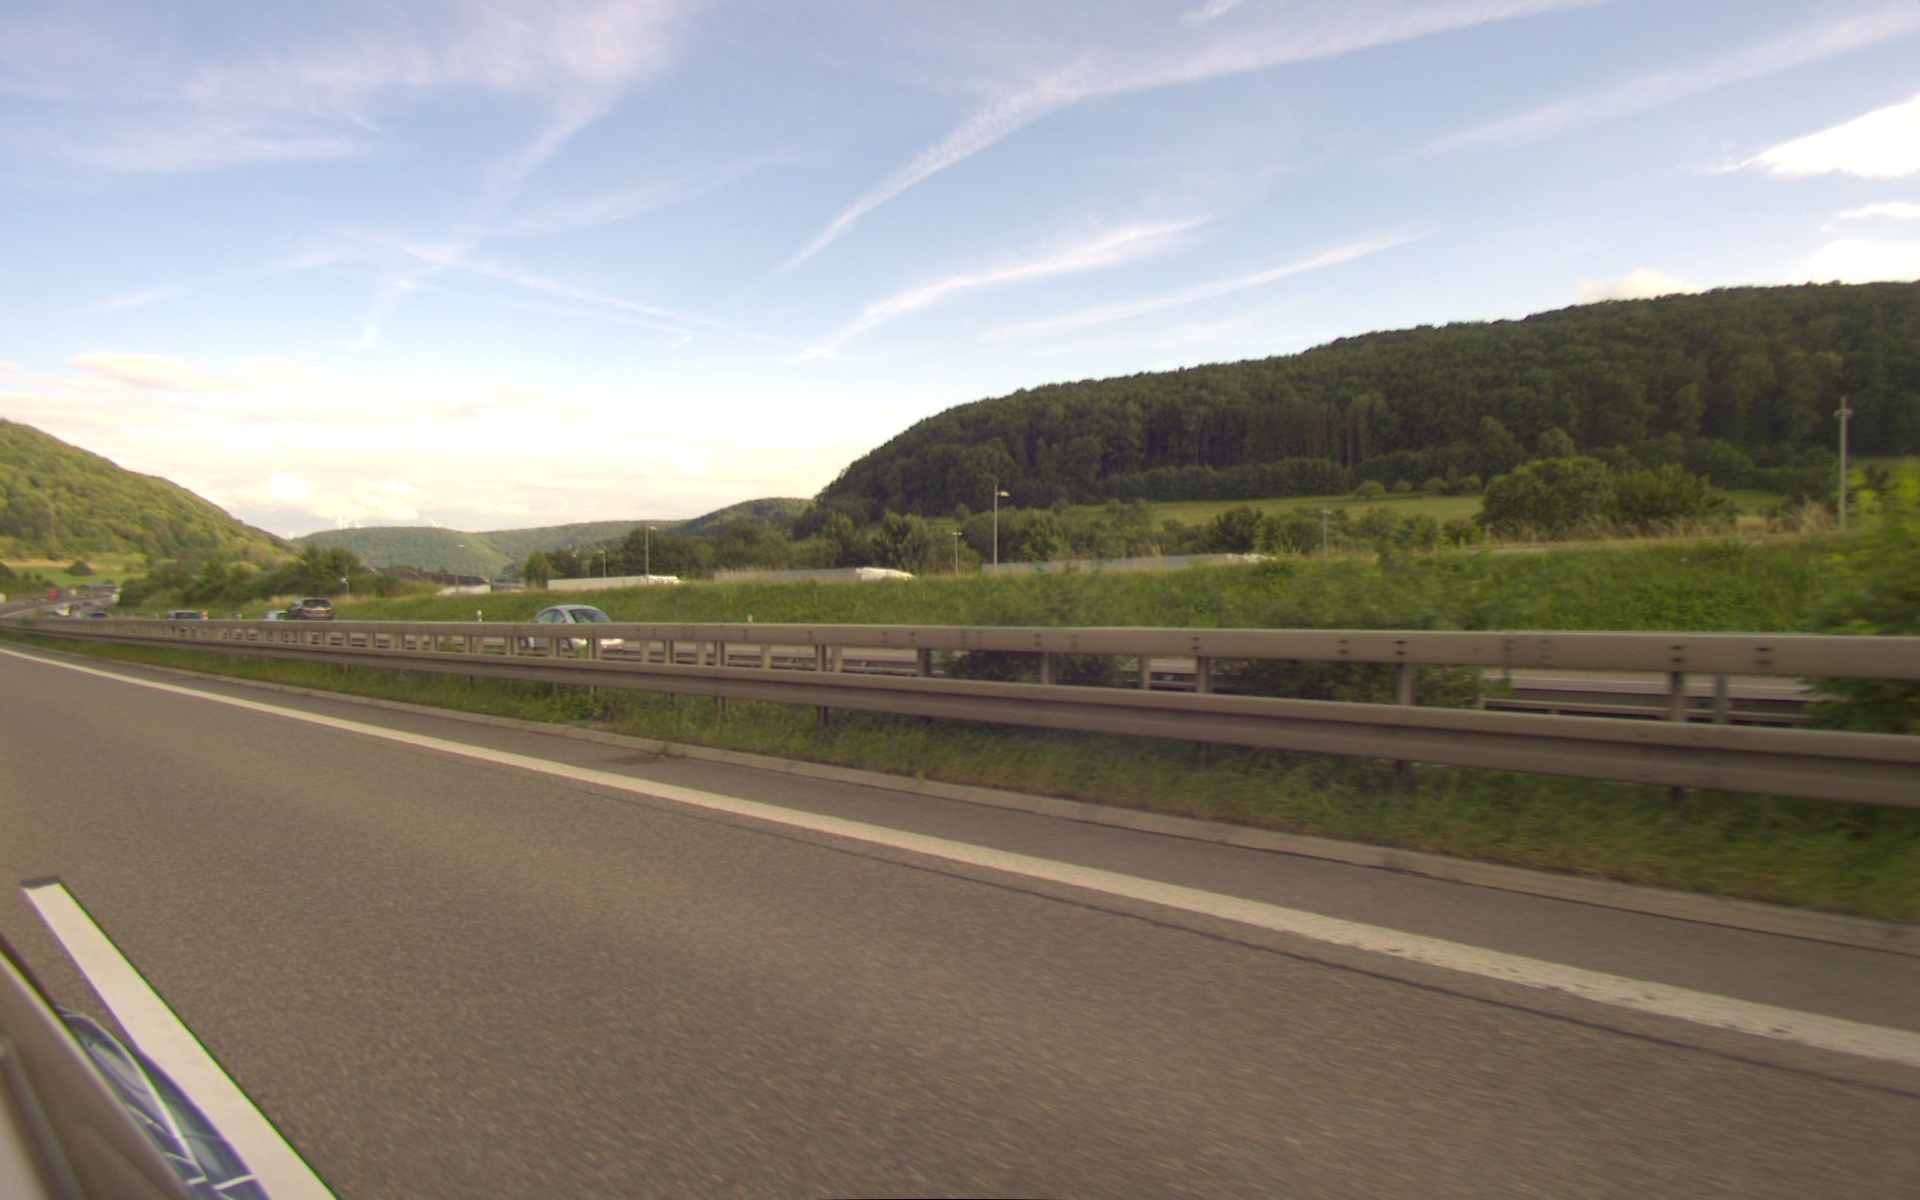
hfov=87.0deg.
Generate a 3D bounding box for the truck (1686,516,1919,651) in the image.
[{"bbox_3d":[25.843,-0.412,30.190,6.588,3.719,2.851,-1,-1,41],"label":"truck"}]

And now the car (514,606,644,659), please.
[{"bbox_3d":[-11.190,0.948,29.643,3.871,1.459,1.931,-1,-3,41],"label":"car"}]

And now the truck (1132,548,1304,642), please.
[{"bbox_3d":[10.971,-0.145,43.443,6.588,3.719,2.851,-1,-1,41],"label":"truck"}]

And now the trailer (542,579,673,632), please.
[{"bbox_3d":[-26.997,0.497,76.906,13.667,3.724,2.847,-1,-3,41],"label":"trailer"}]

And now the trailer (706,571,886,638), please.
[{"bbox_3d":[-10.369,0.268,62.189,13.670,3.724,2.847,0,-1,41],"label":"trailer"}]

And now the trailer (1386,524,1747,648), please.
[{"bbox_3d":[20.504,-0.348,34.925,10.368,3.724,2.847,-1,-1,42],"label":"trailer"}]

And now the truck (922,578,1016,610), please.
[{"bbox_3d":[1.065,-0.735,122.128,11.210,3.885,2.590,0,1,-4],"label":"truck"}]

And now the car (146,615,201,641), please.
[{"bbox_3d":[-48.285,1.715,62.126,3.871,1.487,1.931,-1,-3,41],"label":"car"}]

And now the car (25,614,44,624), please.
[{"bbox_3d":[-135.340,2.775,147.965,1.820,1.541,4.217,2,-2,-45],"label":"car"}]

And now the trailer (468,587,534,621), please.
[{"bbox_3d":[-40.523,0.318,89.265,7.304,2.875,2.584,1,1,42],"label":"trailer"}]

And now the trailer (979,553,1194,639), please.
[{"bbox_3d":[5.760,-0.102,48.025,10.368,3.724,2.847,-1,-1,42],"label":"trailer"}]

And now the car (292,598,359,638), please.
[{"bbox_3d":[-35.593,1.012,56.734,4.518,2.129,1.931,-1,-3,41],"label":"car"}]

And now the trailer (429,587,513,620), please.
[{"bbox_3d":[-45.389,0.231,93.623,12.260,2.875,2.551,1,1,42],"label":"trailer"}]

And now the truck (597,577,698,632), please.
[{"bbox_3d":[-22.693,0.375,73.243,8.488,3.719,2.851,-1,-3,41],"label":"truck"}]

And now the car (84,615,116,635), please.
[{"bbox_3d":[-77.880,2.217,91.631,4.341,1.626,1.787,1,1,43],"label":"car"}]

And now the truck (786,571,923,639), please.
[{"bbox_3d":[-6.231,0.287,58.528,8.489,3.719,2.851,0,-1,41],"label":"truck"}]
